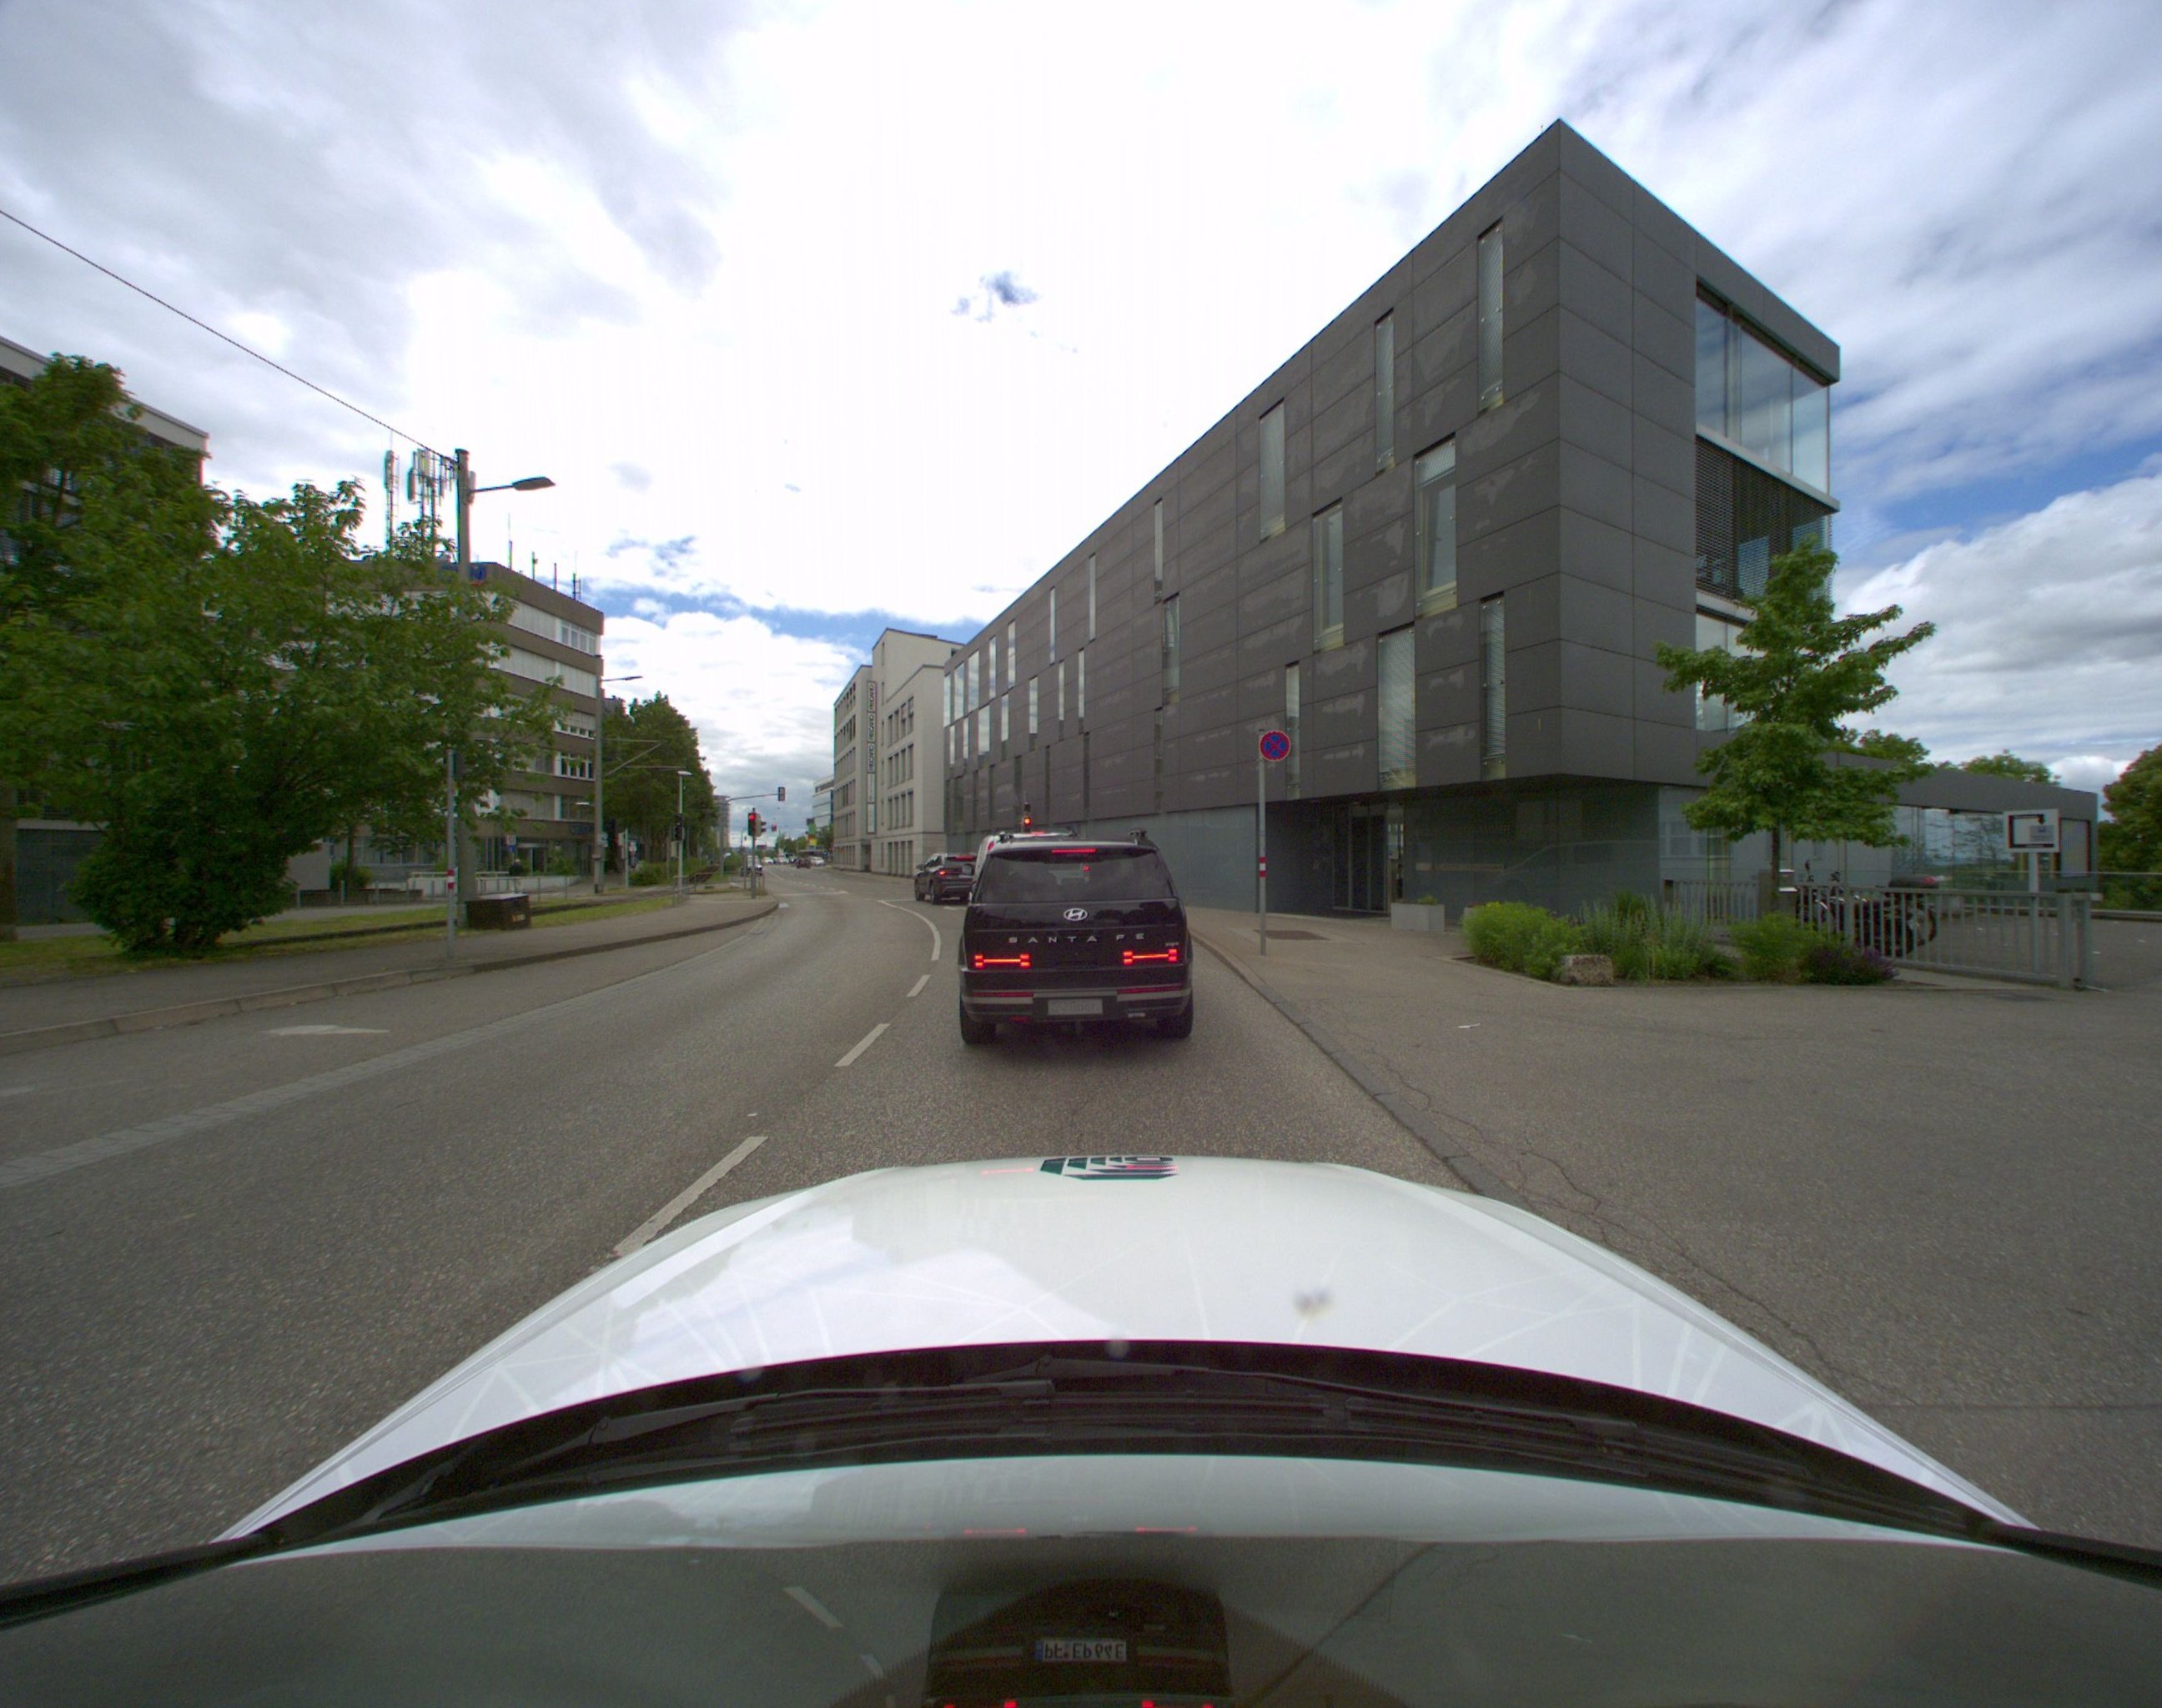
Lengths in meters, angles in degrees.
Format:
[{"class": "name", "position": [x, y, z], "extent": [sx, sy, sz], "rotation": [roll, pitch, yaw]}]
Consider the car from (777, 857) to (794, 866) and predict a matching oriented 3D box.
[{"class": "car", "position": [-57.904, 1.506, 159.556], "extent": [2.009, 1.703, 3.956], "rotation": [0, 0, -36]}]

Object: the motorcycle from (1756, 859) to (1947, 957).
[{"class": "motorcycle", "position": [11.918, 0.771, 12.707], "extent": [0.669, 1.393, 2.112], "rotation": [0, 0, -17]}]

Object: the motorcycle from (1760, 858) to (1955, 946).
[{"class": "motorcycle", "position": [13.397, 0.766, 14.184], "extent": [0.669, 1.393, 2.449], "rotation": [0, 0, -17]}]

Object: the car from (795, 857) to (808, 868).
[{"class": "car", "position": [-41.513, 1.302, 120.838], "extent": [1.765, 1.609, 4.159], "rotation": [0, 0, -20]}]

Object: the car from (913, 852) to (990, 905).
[{"class": "car", "position": [-4.390, 0.741, 27.097], "extent": [1.765, 1.609, 4.159], "rotation": [0, 0, -20]}]

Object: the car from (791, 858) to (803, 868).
[{"class": "car", "position": [-47.948, 1.473, 137.563], "extent": [1.765, 1.609, 4.159], "rotation": [0, 0, -20]}]

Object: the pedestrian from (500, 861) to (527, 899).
[{"class": "pedestrian", "position": [-25.892, 1.186, 37.166], "extent": [0.685, 1.705, 0.683], "rotation": [-2, 0, 2]}]

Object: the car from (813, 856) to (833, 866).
[{"class": "car", "position": [-44.189, 1.158, 139.523], "extent": [2.009, 1.677, 3.956], "rotation": [0, 0, -36]}]

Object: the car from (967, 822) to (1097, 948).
[{"class": "car", "position": [-1.079, 0.498, 15.309], "extent": [1.932, 1.994, 4.519], "rotation": [0, 0, -10]}]

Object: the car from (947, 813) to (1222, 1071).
[{"class": "car", "position": [-0.118, 0.611, 7.908], "extent": [1.905, 1.749, 4.390], "rotation": [-1, 0, -4]}]

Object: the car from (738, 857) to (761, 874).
[{"class": "car", "position": [-30.079, 1.042, 74.019], "extent": [1.774, 1.479, 3.972], "rotation": [-2, 0, -21]}]

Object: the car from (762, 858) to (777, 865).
[{"class": "car", "position": [-65.409, 1.573, 171.173], "extent": [2.009, 1.578, 3.956], "rotation": [0, 0, -36]}]

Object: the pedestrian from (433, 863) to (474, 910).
[{"class": "pedestrian", "position": [-21.205, 1.069, 27.548], "extent": [0.852, 1.526, 0.987], "rotation": [-2, 0, -25]}]

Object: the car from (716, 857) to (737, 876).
[{"class": "car", "position": [-35.535, 1.224, 81.720], "extent": [1.687, 1.808, 4.322], "rotation": [-2, 0, -20]}]

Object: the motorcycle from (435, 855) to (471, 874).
[{"class": "motorcycle", "position": [-41.224, 0.666, 53.469], "extent": [1.876, 1.199, 0.567], "rotation": [-1, 0, -5]}]

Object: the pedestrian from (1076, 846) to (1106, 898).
[{"class": "pedestrian", "position": [0.324, 0.603, 27.277], "extent": [0.715, 1.694, 0.858], "rotation": [1, -1, -25]}]
